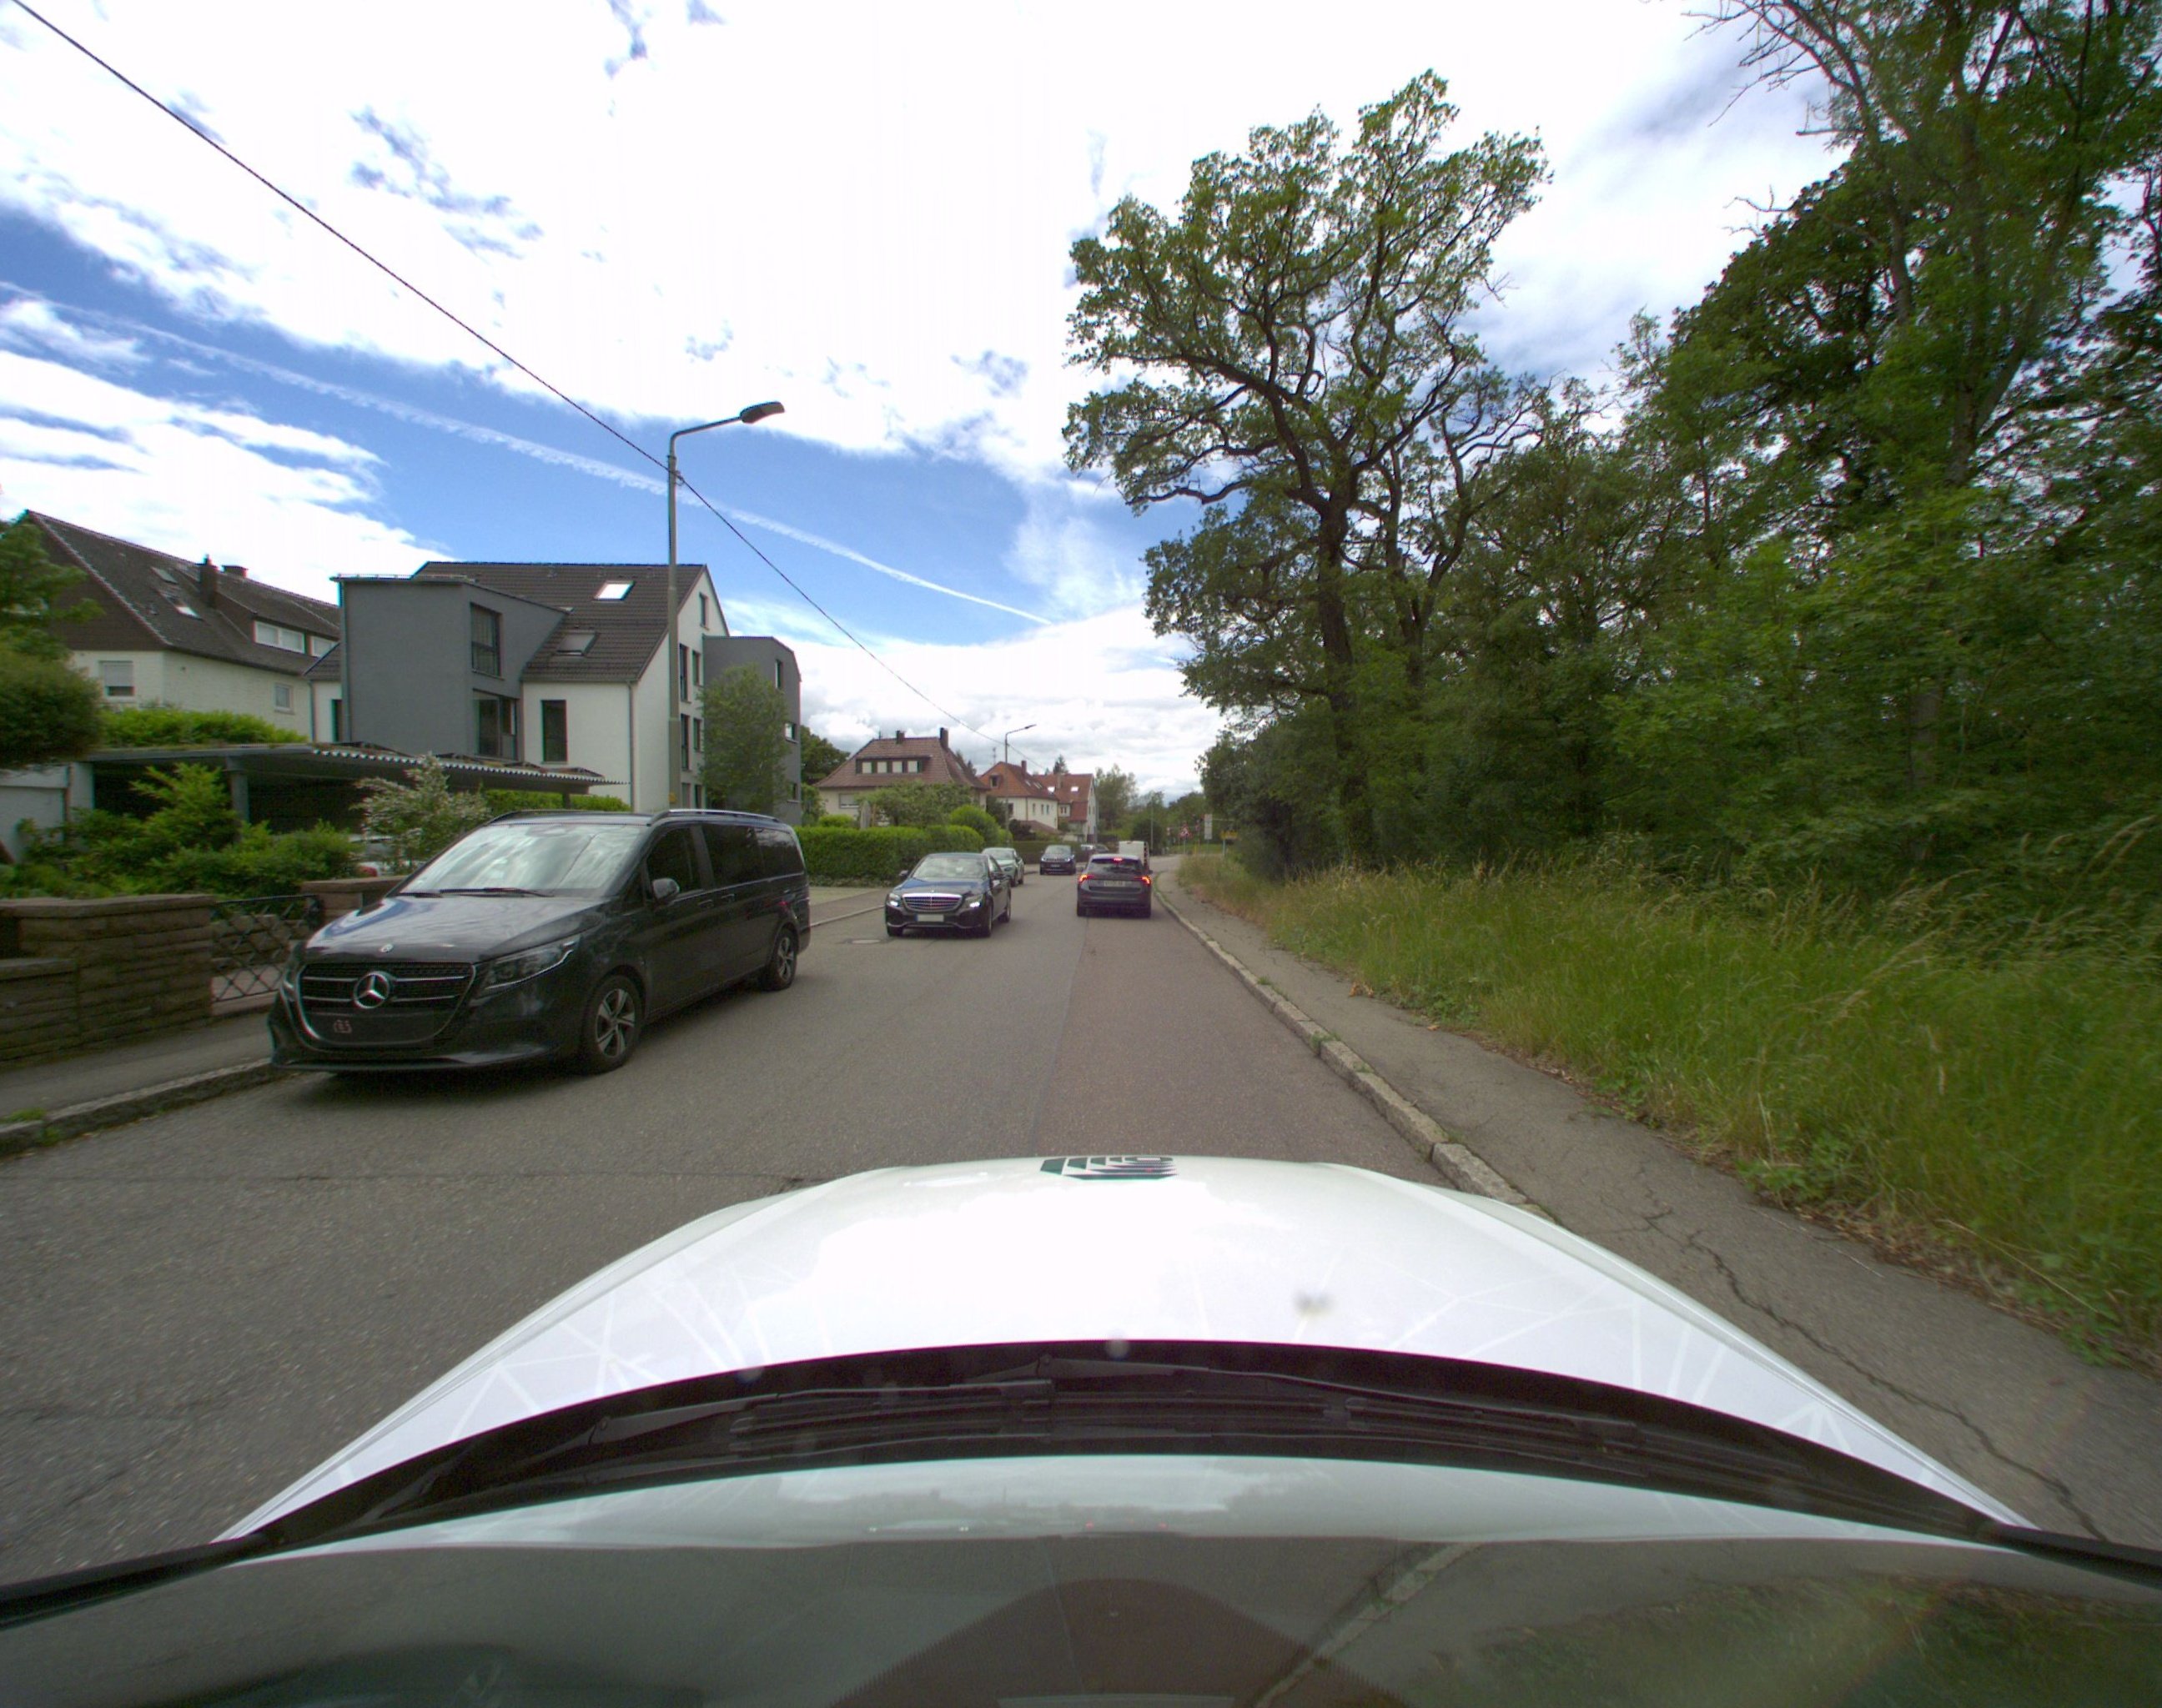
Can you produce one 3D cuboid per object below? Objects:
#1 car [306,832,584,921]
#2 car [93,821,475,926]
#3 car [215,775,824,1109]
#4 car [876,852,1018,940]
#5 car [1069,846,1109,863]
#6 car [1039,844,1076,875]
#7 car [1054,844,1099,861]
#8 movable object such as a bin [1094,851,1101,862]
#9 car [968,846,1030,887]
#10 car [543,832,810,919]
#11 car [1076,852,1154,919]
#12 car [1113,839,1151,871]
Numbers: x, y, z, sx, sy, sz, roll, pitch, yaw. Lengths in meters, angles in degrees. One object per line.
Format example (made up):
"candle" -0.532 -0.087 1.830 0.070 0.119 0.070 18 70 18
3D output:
"car" -13.118 0.413 17.046 4.111 1.697 1.999 0 2 -2
"car" -13.883 0.274 14.460 4.604 1.697 1.999 0 2 -2
"car" -4.084 0.502 7.290 1.856 1.926 5.039 1 0 1
"car" -2.382 0.687 15.690 1.856 1.414 4.593 1 0 1
"car" 0.825 0.059 83.326 3.969 1.706 1.919 0 0 4
"car" -1.280 0.266 45.317 1.827 1.597 4.325 1 1 1
"car" -0.437 -0.146 78.420 3.962 1.618 2.006 0 0 10
"movable object such as a bin" 1.489 0.220 74.443 0.596 0.951 0.581 0 0 8
"car" -3.188 0.460 32.271 1.776 1.500 4.019 1 0 3
"car" -8.374 0.418 17.234 4.604 1.697 1.998 0 0 -2
"car" 0.798 0.692 20.171 1.722 1.439 4.324 1 0 1
"car" 3.284 0.055 51.328 2.060 1.922 4.933 1 0 7
